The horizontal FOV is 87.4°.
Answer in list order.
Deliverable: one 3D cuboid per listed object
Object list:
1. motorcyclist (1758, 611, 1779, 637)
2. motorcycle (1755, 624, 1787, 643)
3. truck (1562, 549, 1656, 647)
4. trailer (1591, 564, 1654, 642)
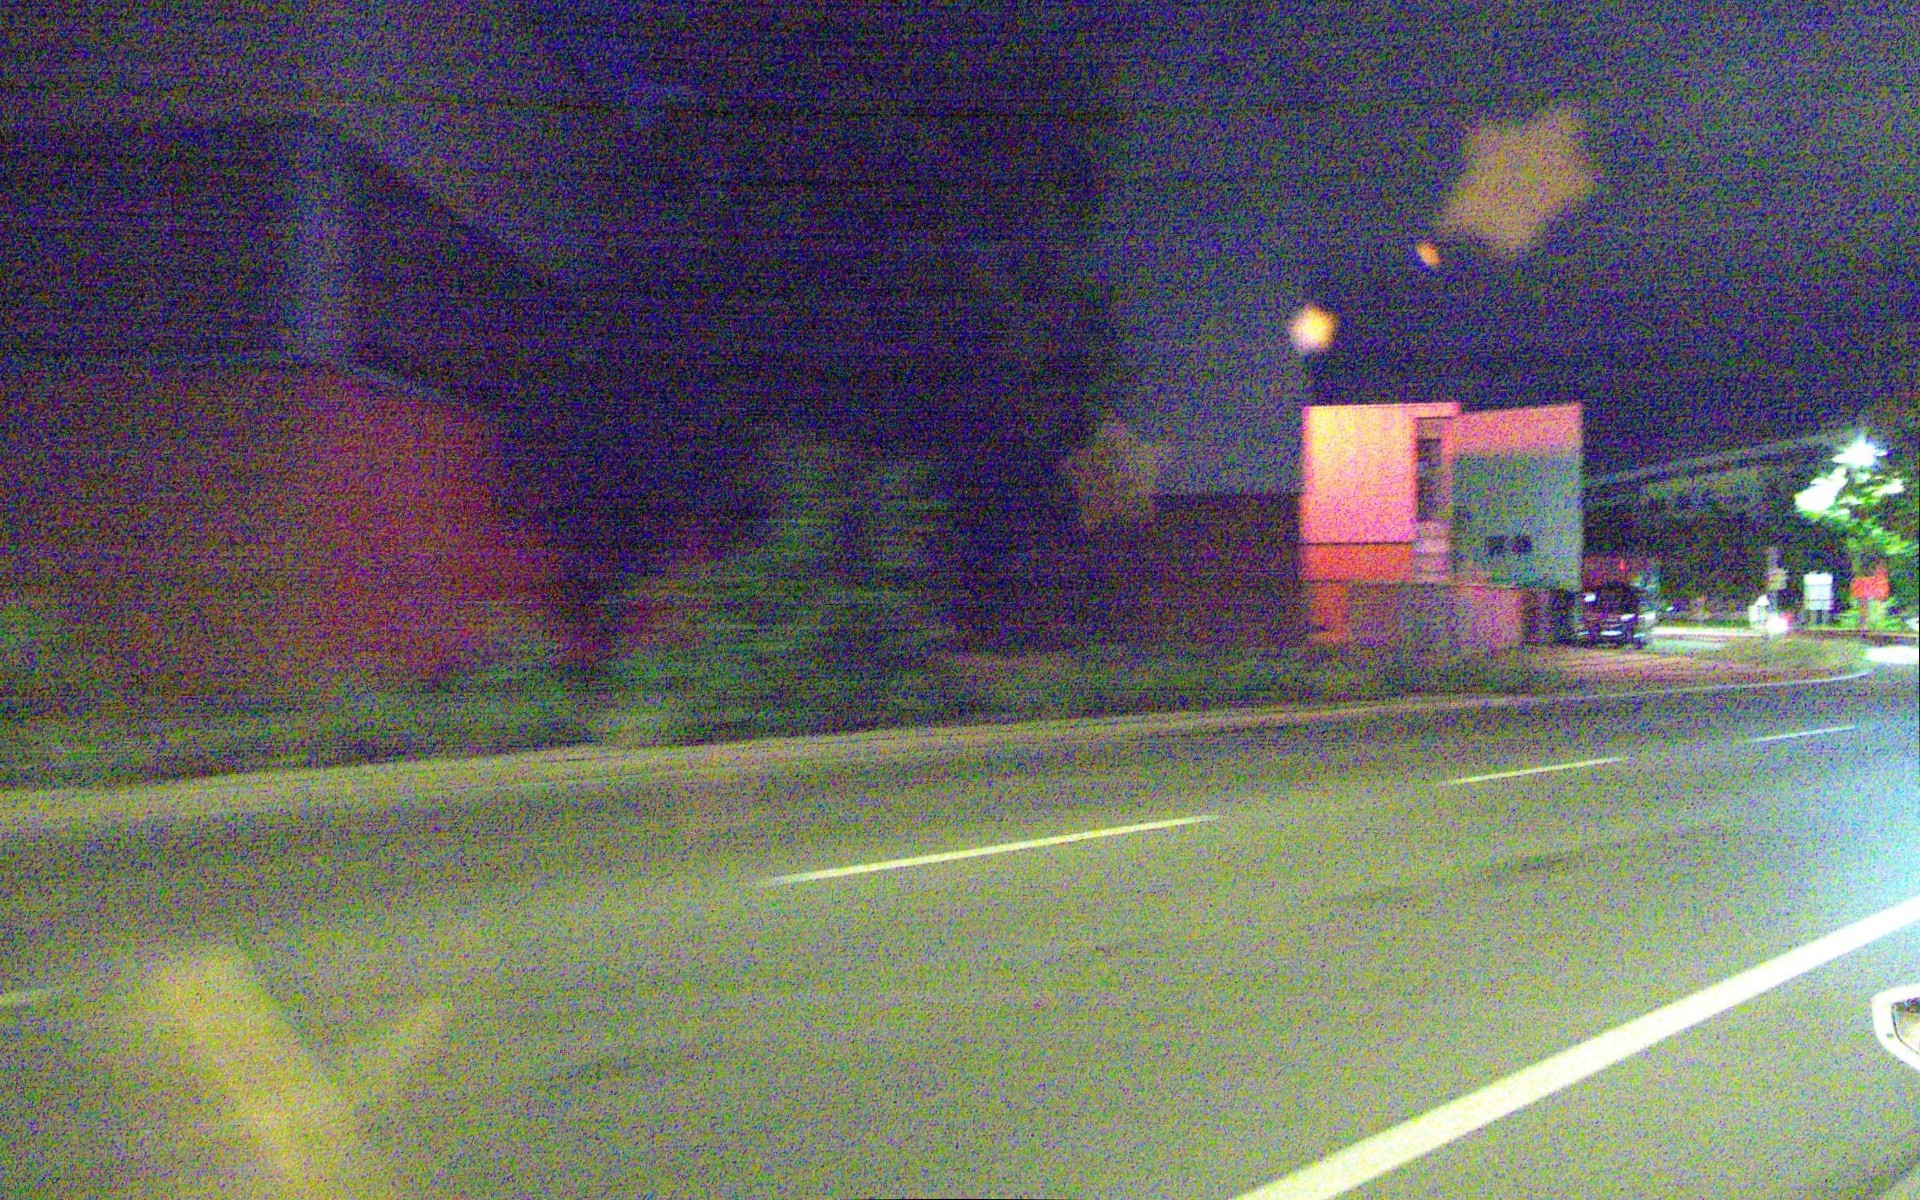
[{"bbox_3d":[40.468,1.205,50.263,0.636,1.278,0.579,1,0,20],"label":"motorcyclist"},{"bbox_3d":[40.666,1.665,50.407,0.568,0.908,2.155,-1,-1,20],"label":"motorcycle"},{"bbox_3d":[28.702,-0.012,44.232,2.900,3.847,9.524,1,0,36],"label":"truck"},{"bbox_3d":[34.799,0.179,52.745,2.578,3.841,6.494,1,0,34],"label":"trailer"}]
